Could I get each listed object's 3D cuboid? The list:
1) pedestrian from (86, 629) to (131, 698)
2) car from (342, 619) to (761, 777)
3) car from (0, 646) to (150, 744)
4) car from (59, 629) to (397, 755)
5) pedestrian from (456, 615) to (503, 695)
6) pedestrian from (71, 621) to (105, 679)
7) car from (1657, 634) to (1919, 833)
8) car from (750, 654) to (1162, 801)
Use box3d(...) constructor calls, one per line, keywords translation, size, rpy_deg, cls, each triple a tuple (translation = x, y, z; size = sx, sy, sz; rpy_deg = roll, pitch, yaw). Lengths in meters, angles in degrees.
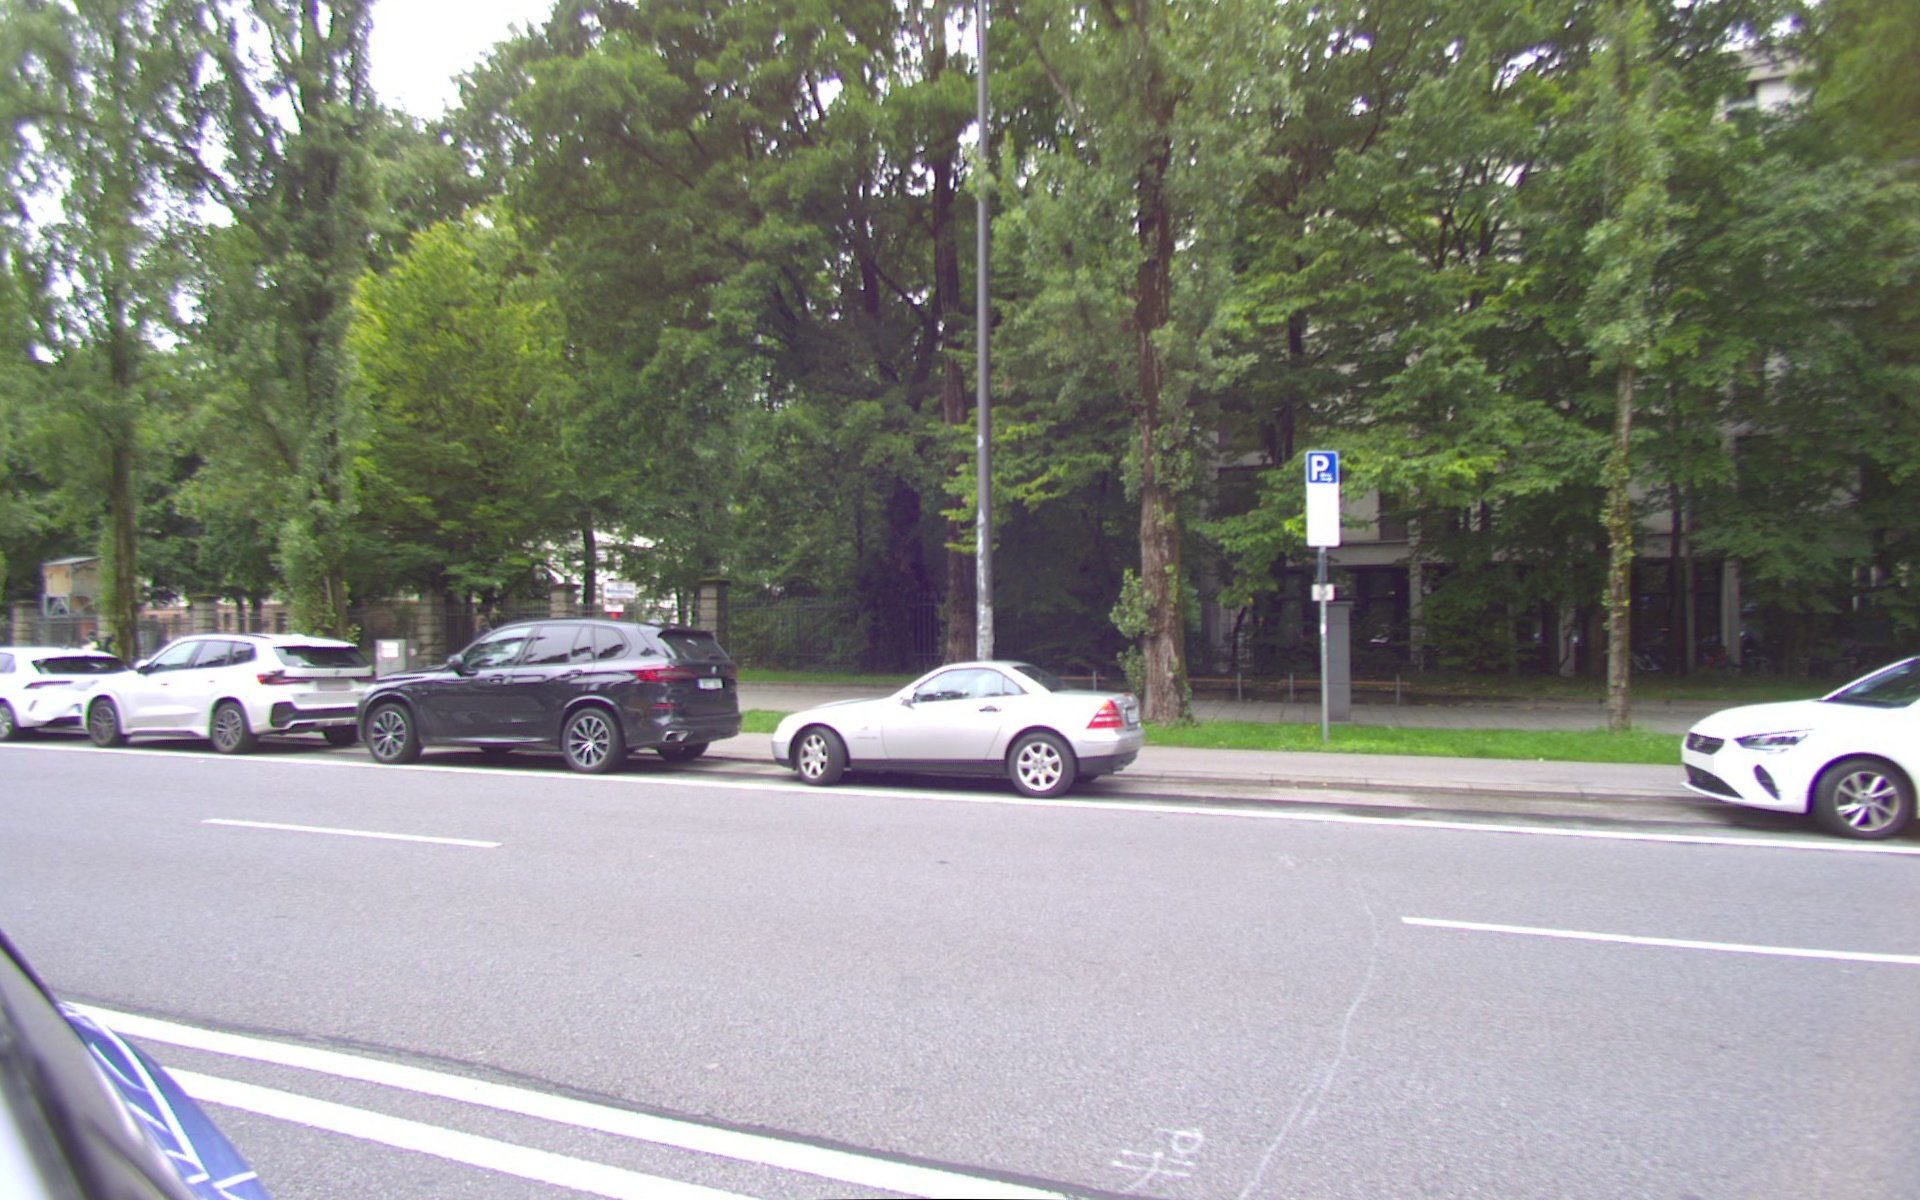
box3d(translation=(-21.811, 1.611, 25.932), size=(0.780, 1.733, 0.581), rpy_deg=(-1, -1, 19), cls="pedestrian")
box3d(translation=(-4.969, 1.147, 12.403), size=(4.680, 1.671, 1.874), rpy_deg=(-1, -4, 19), cls="car")
box3d(translation=(-15.424, 1.470, 16.372), size=(4.205, 1.433, 1.670), rpy_deg=(-1, -3, 20), cls="car")
box3d(translation=(-10.510, 1.283, 14.547), size=(4.429, 1.601, 1.778), rpy_deg=(-2, -4, 21), cls="car")
box3d(translation=(-11.272, 1.276, 23.761), size=(0.770, 1.829, 0.638), rpy_deg=(-1, -2, 20), cls="pedestrian")
box3d(translation=(-26.861, 1.525, 31.184), size=(0.667, 1.761, 0.548), rpy_deg=(-1, -1, 19), cls="pedestrian")
box3d(translation=(7.998, 0.988, 7.774), size=(3.973, 1.424, 1.680), rpy_deg=(-1, -3, 19), cls="car")
box3d(translation=(-0.043, 1.222, 10.532), size=(3.999, 1.315, 1.574), rpy_deg=(-1, -3, 21), cls="car")
